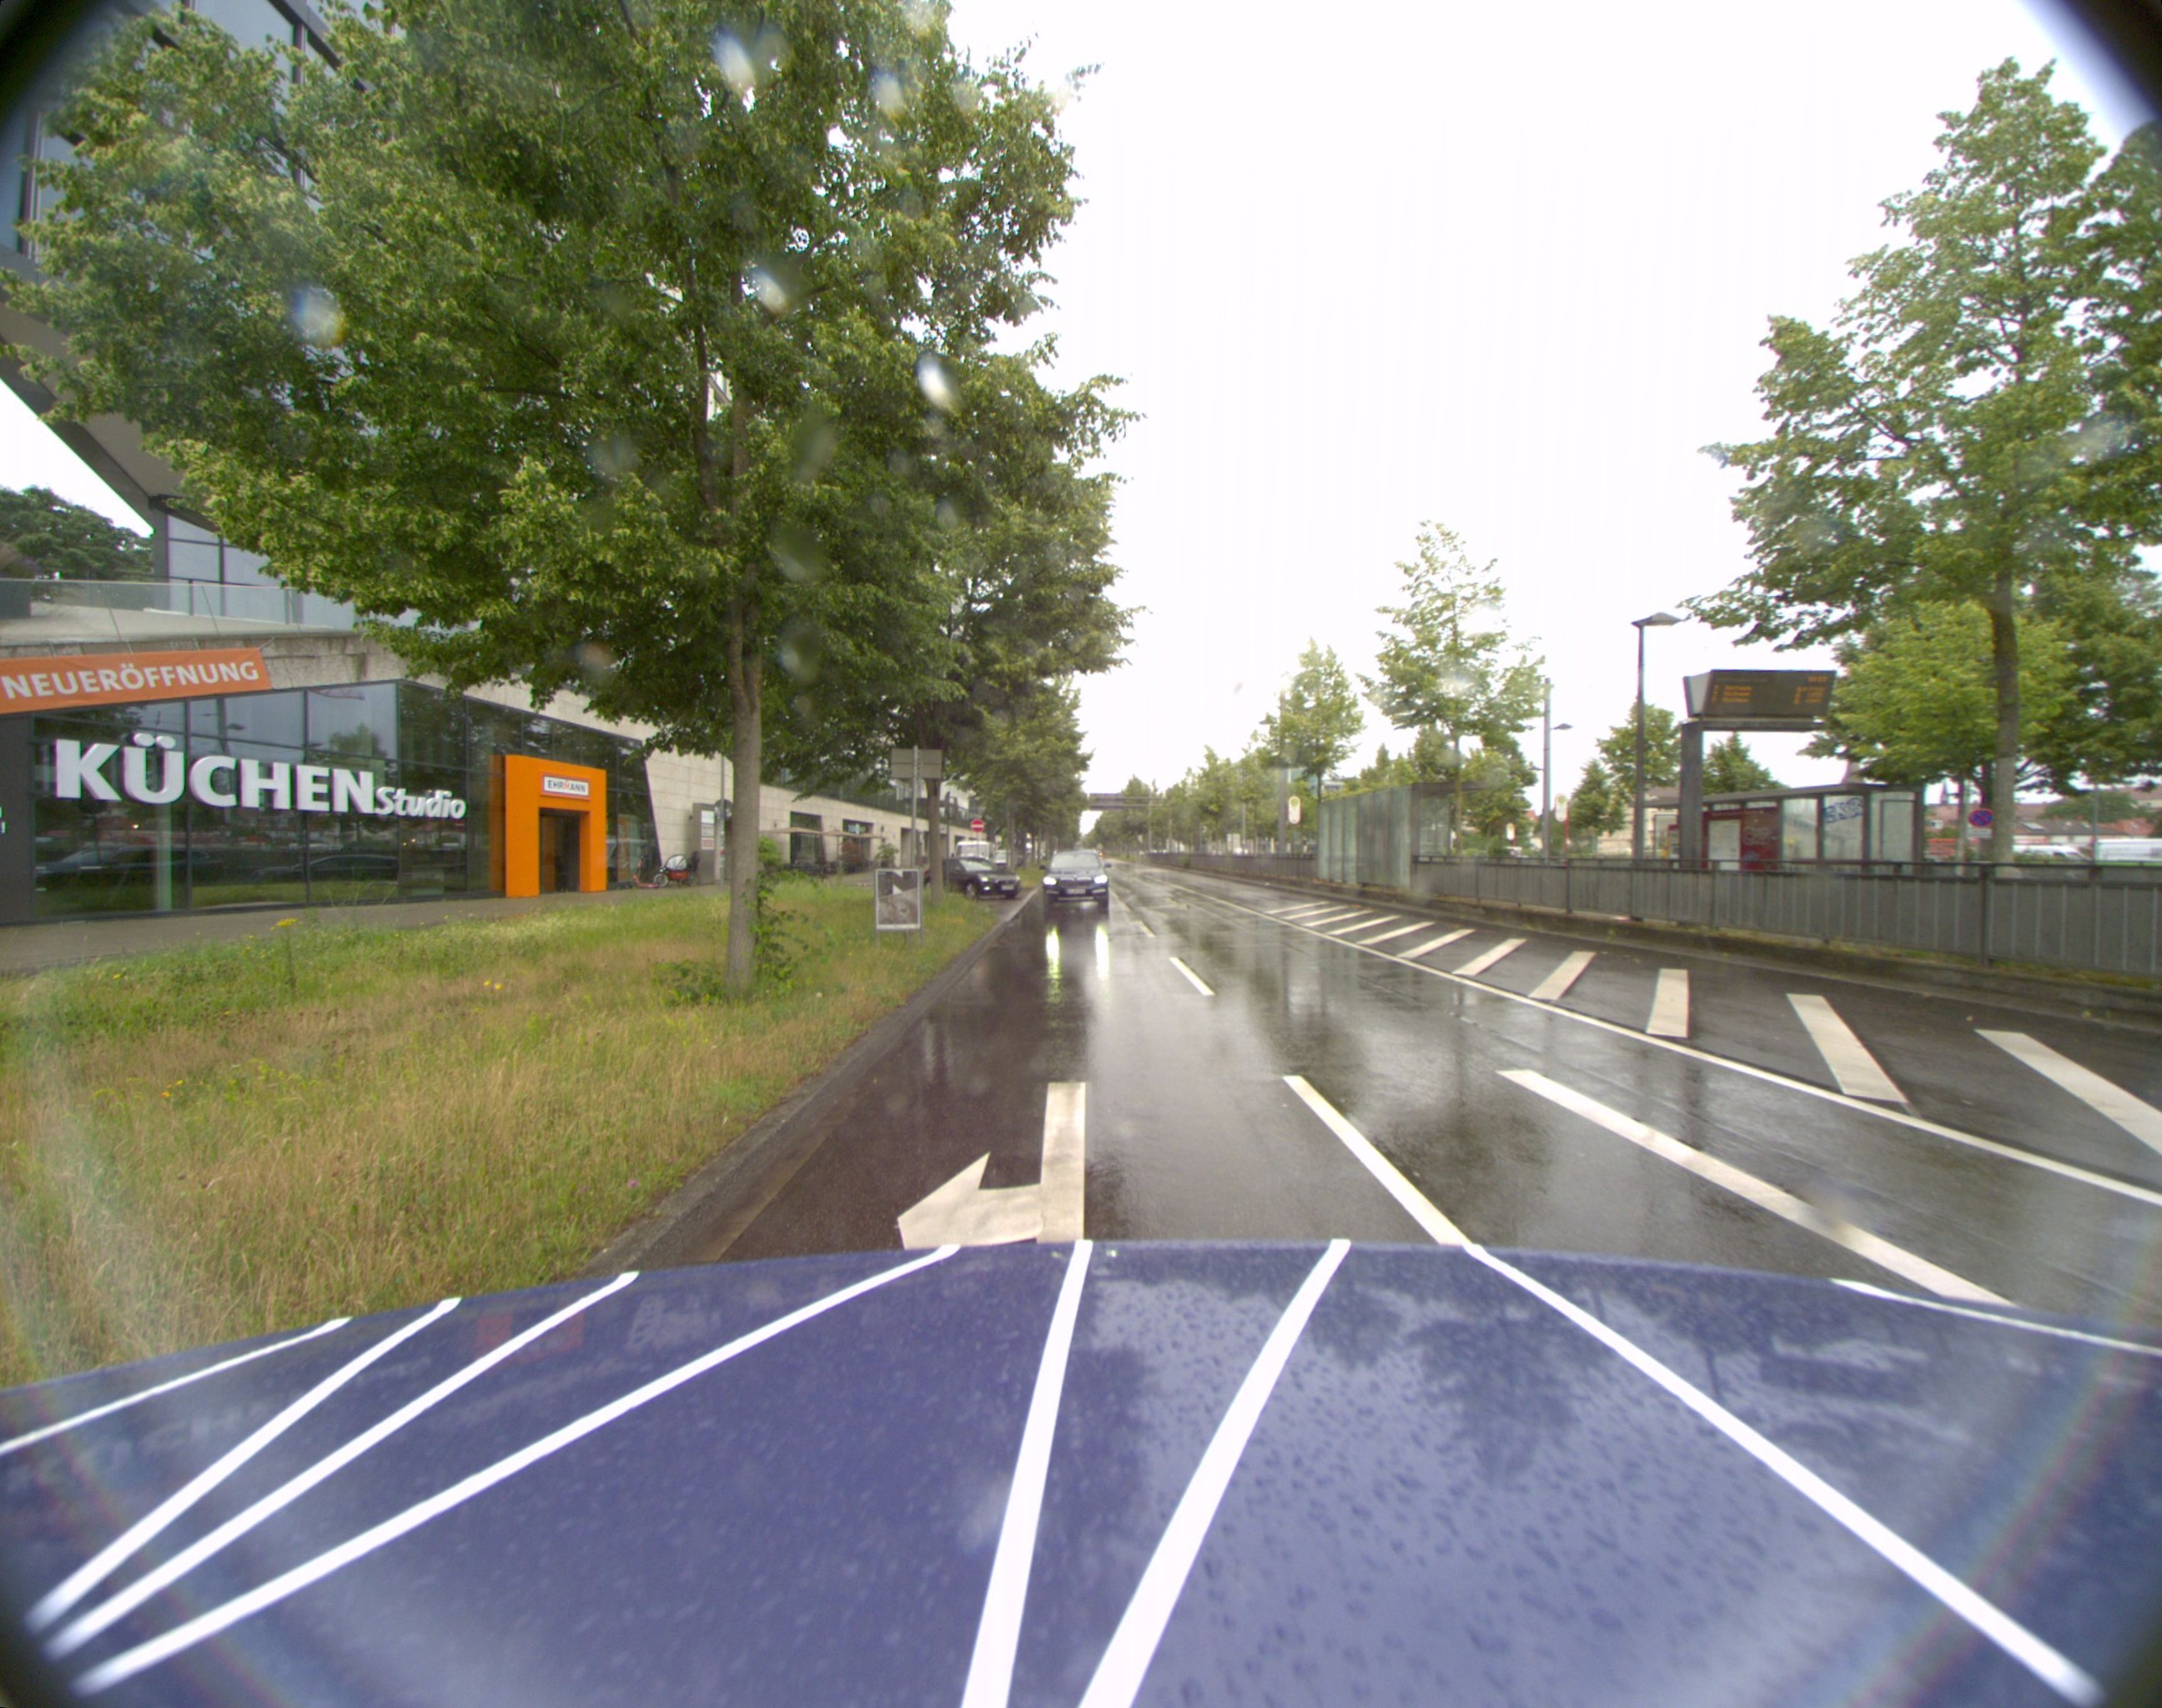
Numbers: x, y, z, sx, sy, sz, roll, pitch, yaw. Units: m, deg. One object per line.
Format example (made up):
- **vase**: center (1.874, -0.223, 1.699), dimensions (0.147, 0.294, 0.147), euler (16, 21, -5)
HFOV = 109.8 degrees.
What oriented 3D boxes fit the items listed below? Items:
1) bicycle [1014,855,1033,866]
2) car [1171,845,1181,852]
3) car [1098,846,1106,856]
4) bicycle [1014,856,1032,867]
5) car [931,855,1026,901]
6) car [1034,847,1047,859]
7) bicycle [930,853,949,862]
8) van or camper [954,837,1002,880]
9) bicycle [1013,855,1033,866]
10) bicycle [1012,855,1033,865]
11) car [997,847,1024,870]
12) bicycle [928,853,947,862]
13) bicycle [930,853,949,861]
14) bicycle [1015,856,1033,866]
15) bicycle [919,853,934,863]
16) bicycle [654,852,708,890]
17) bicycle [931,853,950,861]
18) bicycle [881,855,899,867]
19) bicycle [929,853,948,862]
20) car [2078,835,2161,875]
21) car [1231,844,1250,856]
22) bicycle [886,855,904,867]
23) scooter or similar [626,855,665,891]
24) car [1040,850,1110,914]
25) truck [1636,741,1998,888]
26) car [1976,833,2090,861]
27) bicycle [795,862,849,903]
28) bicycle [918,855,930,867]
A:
- **bicycle**: center (-5.721, 0.626, 75.382), dimensions (1.882, 0.940, 0.395), euler (-2, 2, -4)
- **car**: center (25.145, -1.346, 200.520), dimensions (1.999, 1.736, 3.998), euler (-2, 1, -2)
- **car**: center (5.407, -0.797, 194.291), dimensions (1.998, 2.232, 3.999), euler (-2, 1, 1)
- **bicycle**: center (-5.532, 0.695, 73.004), dimensions (1.699, 0.940, 0.395), euler (-2, 2, -4)
- **car**: center (-3.679, 0.779, 26.669), dimensions (1.835, 1.412, 4.335), euler (-1, 1, -29)
- **car**: center (-5.979, -0.155, 111.307), dimensions (1.659, 1.711, 3.999), euler (-2, 1, 0)
- **bicycle**: center (-15.818, 0.359, 84.739), dimensions (2.029, 0.940, 0.395), euler (1, 1, -4)
- **van or camper**: center (-5.860, 0.209, 43.773), dimensions (2.030, 2.279, 5.459), euler (-1, 1, 0)
- **bicycle**: center (-5.713, 0.637, 74.820), dimensions (1.862, 0.940, 0.395), euler (-2, 2, -4)
- **bicycle**: center (-5.829, 0.620, 75.868), dimensions (2.007, 0.940, 0.395), euler (-2, 2, -4)
- **car**: center (-5.730, 0.328, 62.105), dimensions (1.746, 1.749, 4.847), euler (-1, 1, 0)
- **bicycle**: center (-15.777, 0.370, 83.444), dimensions (2.029, 0.940, 0.395), euler (1, 1, -4)
- **bicycle**: center (-15.908, 0.341, 85.313), dimensions (2.029, 0.940, 0.395), euler (1, 1, -4)
- **bicycle**: center (-5.511, 0.664, 73.554), dimensions (1.649, 0.940, 0.395), euler (-2, 2, -4)
- **bicycle**: center (-16.238, 0.411, 79.785), dimensions (1.657, 0.940, 0.347), euler (1, 1, 19)
- **bicycle**: center (-15.445, 0.630, 29.441), dimensions (0.734, 1.394, 2.425), euler (1, 0, 1)
- **bicycle**: center (-15.979, 0.335, 86.560), dimensions (2.029, 0.940, 0.395), euler (1, 1, -4)
- **bicycle**: center (-15.371, 0.564, 61.252), dimensions (0.396, 0.940, 2.024), euler (-4, 2, -45)
- **bicycle**: center (-15.816, 0.364, 84.144), dimensions (2.029, 0.940, 0.395), euler (1, 1, -4)
- **car**: center (70.016, 0.046, 49.127), dimensions (1.999, 2.448, 6.744), euler (-2, 1, -4)
- **car**: center (25.209, -0.632, 119.974), dimensions (1.999, 1.736, 3.998), euler (-2, 1, -2)
- **bicycle**: center (-15.136, 0.544, 61.884), dimensions (0.396, 0.940, 2.024), euler (-4, 2, -45)
- **scooter or similar**: center (-15.739, 0.683, 27.508), dimensions (0.342, 1.221, 1.242), euler (-2, 1, 19)
- **car**: center (-0.139, 0.760, 22.500), dimensions (1.816, 1.603, 3.999), euler (-2, 1, 1)
- **truck**: center (22.710, -1.114, 24.562), dimensions (2.694, 3.756, 9.180), euler (-2, 1, -1)
- **car**: center (84.279, -0.596, 67.429), dimensions (2.000, 2.293, 6.138), euler (-3, 1, -9)
- **bicycle**: center (-8.595, 0.932, 25.175), dimensions (1.843, 1.338, 0.533), euler (-1, 0, 26)
- **bicycle**: center (-13.232, 0.585, 63.972), dimensions (0.402, 0.940, 1.859), euler (-1, 1, 8)
